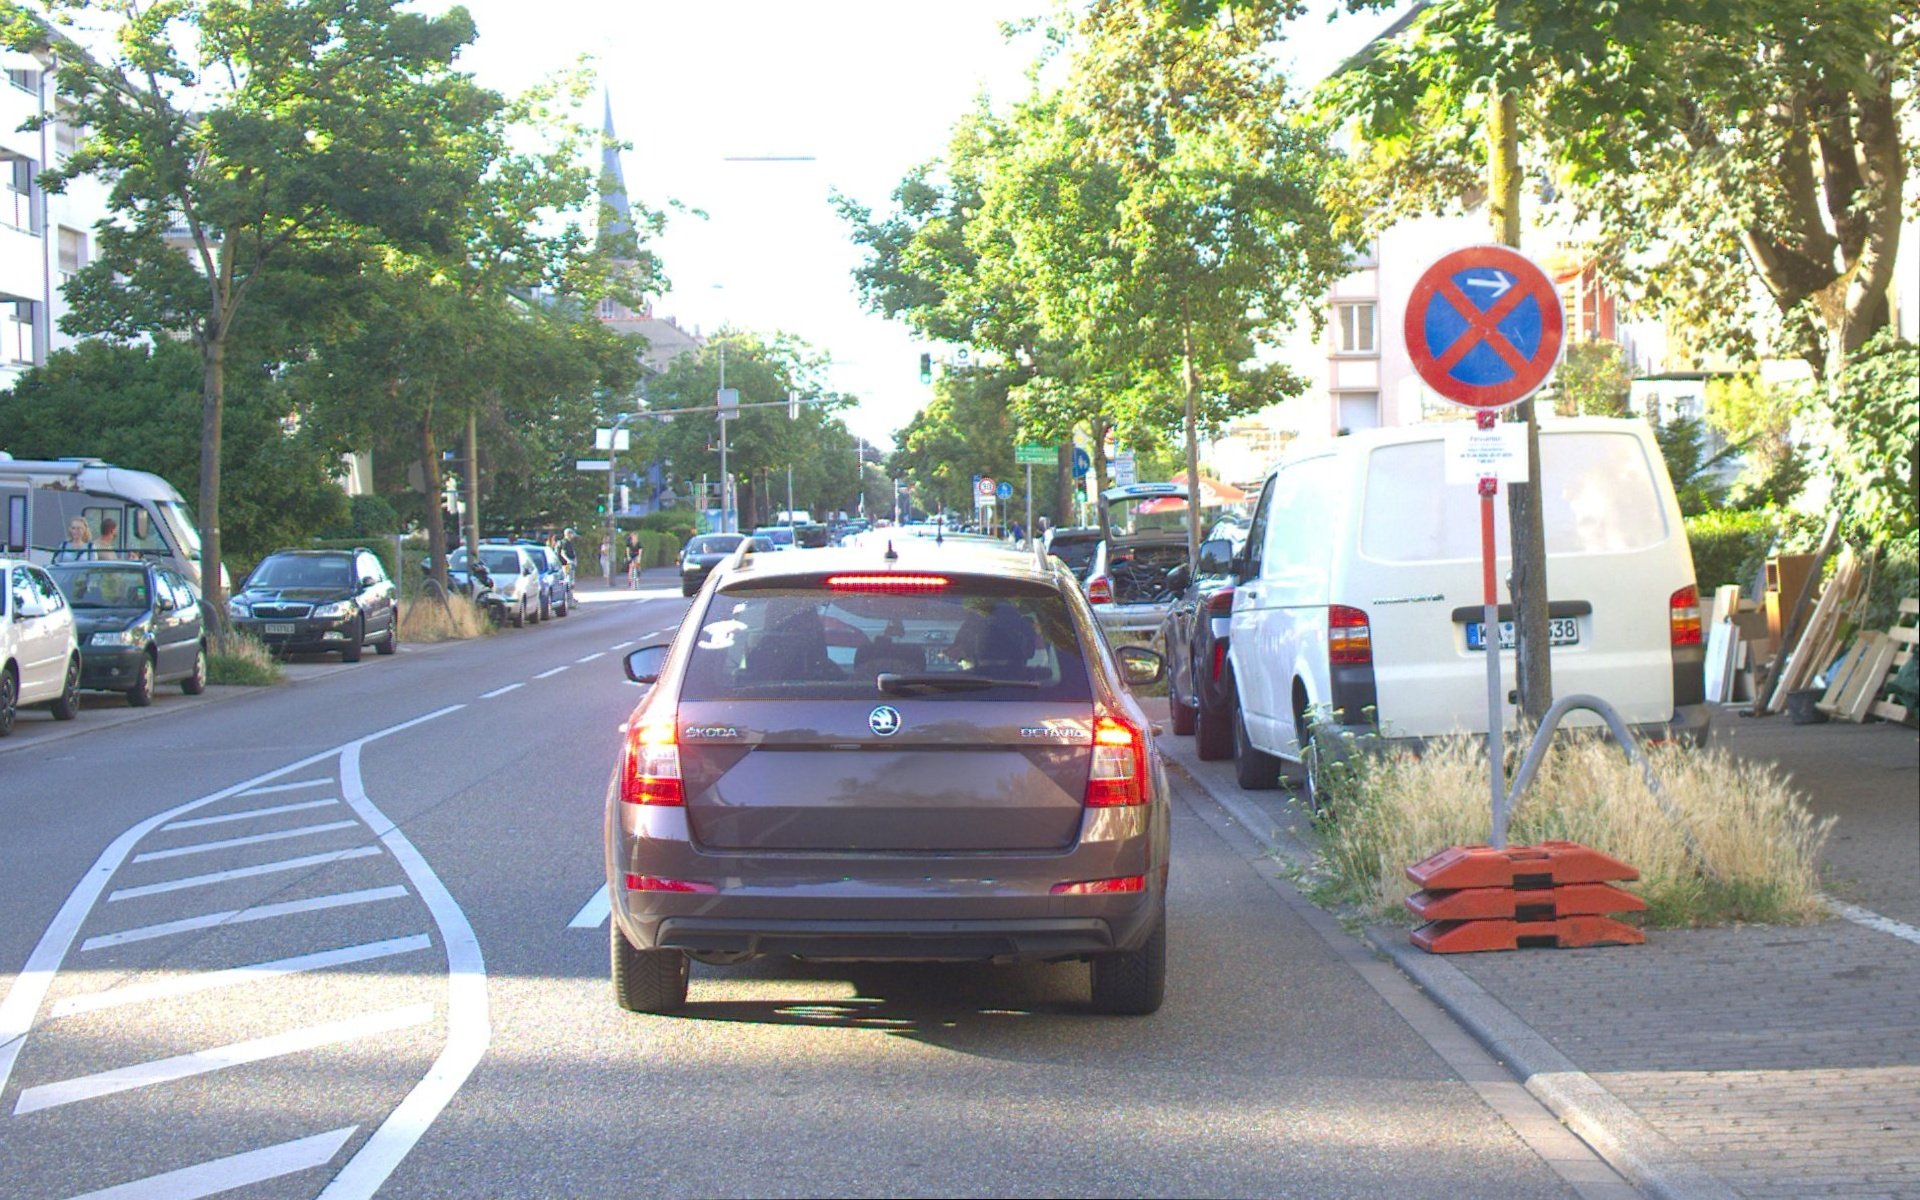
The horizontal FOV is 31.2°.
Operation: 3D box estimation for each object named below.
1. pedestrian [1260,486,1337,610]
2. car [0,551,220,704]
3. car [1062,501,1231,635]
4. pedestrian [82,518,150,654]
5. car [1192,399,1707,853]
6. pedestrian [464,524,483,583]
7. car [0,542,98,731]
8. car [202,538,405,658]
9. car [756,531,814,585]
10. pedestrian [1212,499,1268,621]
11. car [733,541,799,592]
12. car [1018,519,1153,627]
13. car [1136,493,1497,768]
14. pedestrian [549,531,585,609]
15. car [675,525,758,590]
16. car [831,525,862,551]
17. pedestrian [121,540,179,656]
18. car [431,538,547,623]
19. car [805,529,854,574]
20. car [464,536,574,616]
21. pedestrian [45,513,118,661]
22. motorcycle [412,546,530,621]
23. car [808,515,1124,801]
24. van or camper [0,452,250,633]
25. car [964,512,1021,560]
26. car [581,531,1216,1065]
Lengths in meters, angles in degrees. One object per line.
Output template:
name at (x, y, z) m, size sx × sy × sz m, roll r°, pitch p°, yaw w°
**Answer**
pedestrian at (4.534, -0.701, 46.021) m, size 0.757 × 1.634 × 0.694 m, roll 0°, pitch 1°, yaw 36°
car at (-8.514, 0.234, 34.206) m, size 1.543 × 1.391 × 3.666 m, roll -1°, pitch 1°, yaw -1°
car at (2.236, -0.422, 42.207) m, size 1.708 × 1.475 × 4.269 m, roll -3°, pitch 1°, yaw -1°
pedestrian at (-11.187, -0.190, 45.576) m, size 0.713 × 1.786 × 0.572 m, roll -1°, pitch 1°, yaw 2°
car at (2.451, 0.071, 18.401) m, size 1.903 × 2.096 × 4.641 m, roll -1°, pitch 1°, yaw -2°
pedestrian at (-14.768, -1.407, 104.398) m, size 0.449 × 1.790 × 0.504 m, roll -1°, pitch 1°, yaw 0°
car at (-8.628, 0.278, 29.435) m, size 1.593 × 1.518 × 3.891 m, roll -1°, pitch 1°, yaw -2°
car at (-8.733, -0.067, 46.097) m, size 1.867 × 1.489 × 4.517 m, roll 1°, pitch 1°, yaw 0°
car at (-6.205, -1.510, 122.322) m, size 1.805 × 1.798 × 4.746 m, roll -3°, pitch 1°, yaw -1°
pedestrian at (4.094, -0.591, 50.335) m, size 0.662 × 1.743 × 0.772 m, roll -2°, pitch 1°, yaw -1°
car at (-5.983, -1.055, 106.463) m, size 1.760 × 1.447 × 4.534 m, roll -3°, pitch 1°, yaw 0°
car at (1.950, -0.450, 54.552) m, size 1.855 × 1.576 × 4.014 m, roll -3°, pitch 1°, yaw -1°
car at (2.320, 0.141, 23.457) m, size 1.855 × 1.598 × 4.312 m, roll -3°, pitch 1°, yaw -1°
pedestrian at (-10.106, -0.781, 88.508) m, size 0.780 × 1.981 × 0.821 m, roll -1°, pitch 1°, yaw 0°
car at (-6.258, -1.096, 88.616) m, size 1.835 × 1.565 × 4.000 m, roll -3°, pitch 1°, yaw -1°
car at (-7.121, -3.894, 216.449) m, size 1.830 × 1.574 × 4.000 m, roll -1°, pitch 1°, yaw 0°
pedestrian at (-10.555, -0.029, 44.807) m, size 0.590 × 1.490 × 0.542 m, roll -1°, pitch 1°, yaw 2°
car at (-8.594, -0.376, 62.923) m, size 1.593 × 1.465 × 3.804 m, roll 1°, pitch 1°, yaw 0°
car at (-5.813, -2.181, 153.291) m, size 1.993 × 1.902 × 4.964 m, roll -3°, pitch 1°, yaw -1°
car at (-8.637, -0.496, 67.552) m, size 1.648 × 1.512 × 4.074 m, roll 0°, pitch 1°, yaw 0°
pedestrian at (-10.781, -0.162, 42.181) m, size 0.713 × 1.786 × 0.506 m, roll -1°, pitch 1°, yaw 2°
motorcycle at (-8.430, -0.283, 59.215) m, size 2.052 × 1.260 × 0.765 m, roll 0°, pitch 1°, yaw 38°
car at (0.043, 0.284, 21.209) m, size 1.737 × 1.565 × 4.000 m, roll 1°, pitch 1°, yaw 0°
van or camper at (-15.075, -0.967, 55.284) m, size 6.797 × 2.763 × 2.352 m, roll 1°, pitch 1°, yaw -1°
car at (1.229, -2.405, 129.303) m, size 1.994 × 1.766 × 4.000 m, roll 1°, pitch 1°, yaw 2°
car at (-0.211, 0.515, 11.787) m, size 1.773 × 1.484 × 4.311 m, roll 0°, pitch 1°, yaw -1°
